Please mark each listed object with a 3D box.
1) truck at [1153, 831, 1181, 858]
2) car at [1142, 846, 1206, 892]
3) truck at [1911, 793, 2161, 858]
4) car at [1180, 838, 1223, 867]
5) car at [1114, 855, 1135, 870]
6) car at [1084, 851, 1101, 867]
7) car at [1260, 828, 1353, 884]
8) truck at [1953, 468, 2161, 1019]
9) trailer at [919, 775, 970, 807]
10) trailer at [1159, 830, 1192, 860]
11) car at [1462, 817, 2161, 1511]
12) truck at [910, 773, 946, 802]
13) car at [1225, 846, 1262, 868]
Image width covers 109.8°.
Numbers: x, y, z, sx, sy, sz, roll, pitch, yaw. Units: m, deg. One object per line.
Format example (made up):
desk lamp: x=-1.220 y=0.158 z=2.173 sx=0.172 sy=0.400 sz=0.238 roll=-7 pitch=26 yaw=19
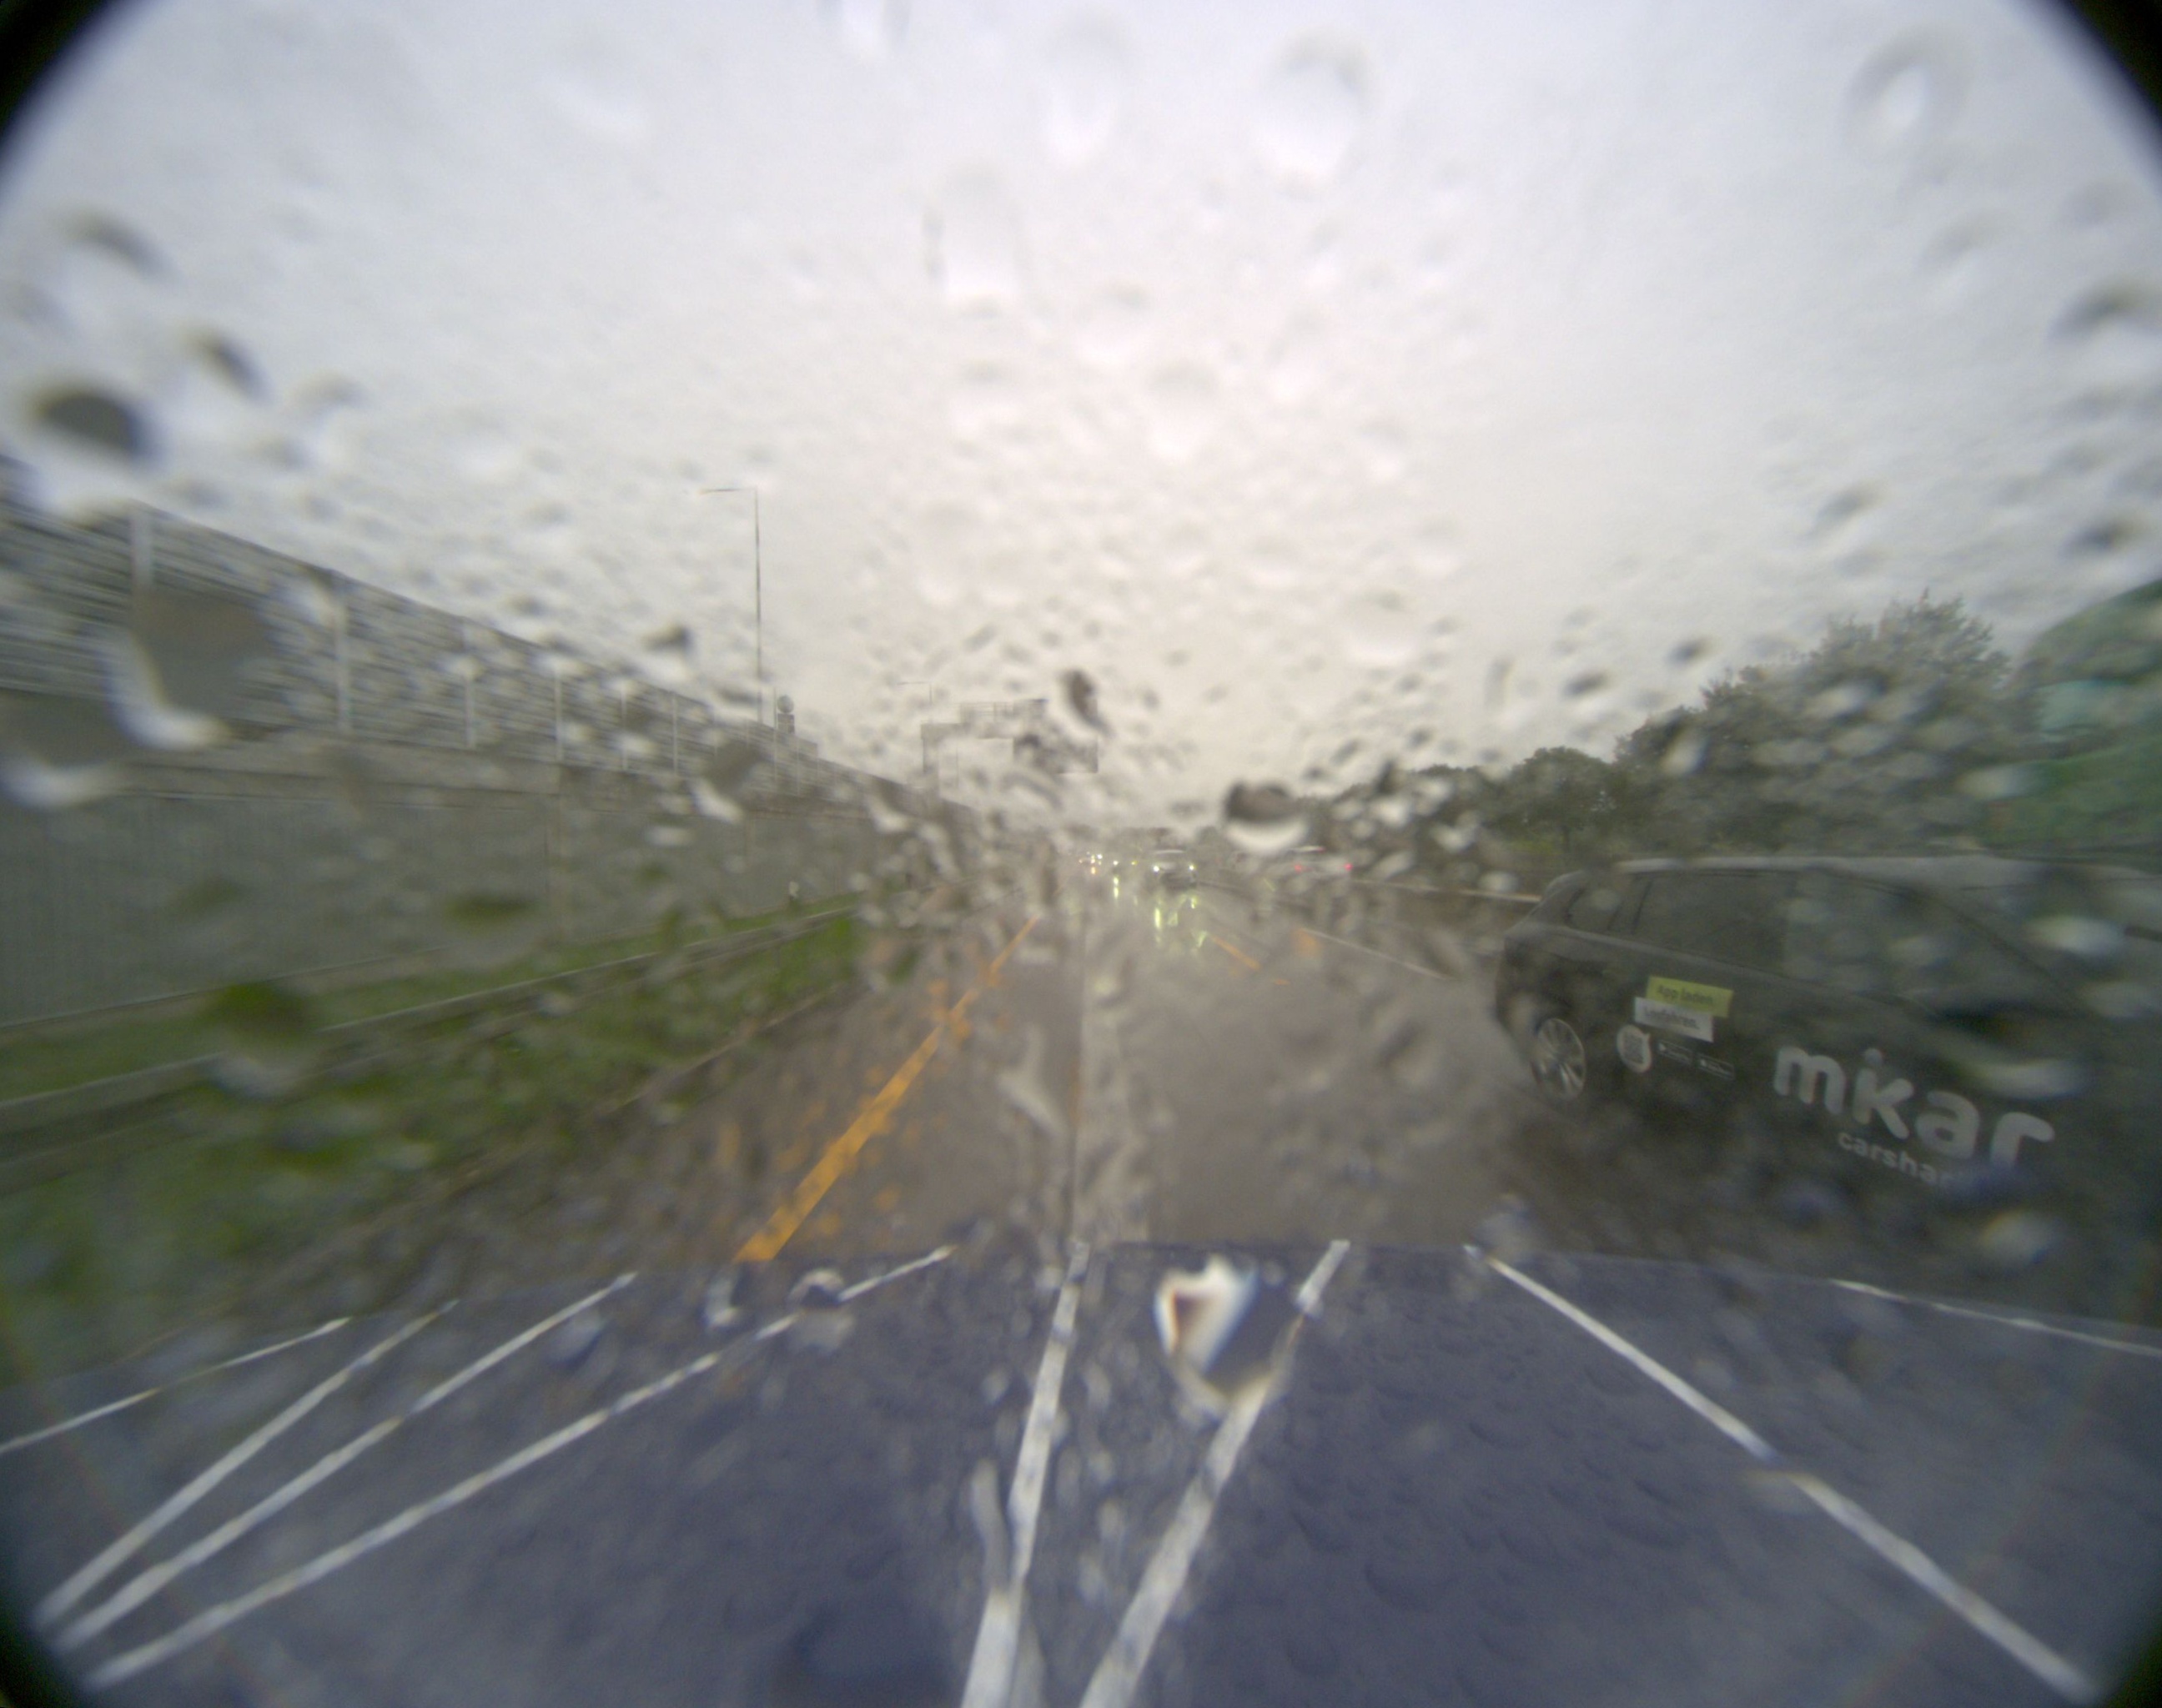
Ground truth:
truck: x=11.250 y=-1.215 z=100.272 sx=2.646 sy=3.328 sz=9.552 roll=-2 pitch=0 yaw=1
car: x=3.815 y=0.573 z=31.981 sx=1.972 sy=1.671 sz=3.997 roll=-2 pitch=2 yaw=-3
truck: x=45.162 y=-1.241 z=35.806 sx=2.521 sy=2.688 sz=8.902 roll=-2 pitch=1 yaw=2
car: x=7.367 y=-0.123 z=46.899 sx=1.903 sy=1.677 sz=4.740 roll=-1 pitch=1 yaw=0
car: x=3.441 y=0.650 z=60.545 sx=1.335 sy=1.105 sz=3.198 roll=1 pitch=0 yaw=-2
car: x=1.401 y=0.545 z=93.031 sx=1.998 sy=1.762 sz=3.999 roll=-2 pitch=2 yaw=1
car: x=7.088 y=-0.012 z=24.326 sx=1.705 sy=1.589 sz=4.319 roll=-2 pitch=2 yaw=1
truck: x=9.851 y=-0.889 z=4.305 sx=2.615 sy=4.363 sz=6.289 roll=-2 pitch=1 yaw=1
trailer: x=-12.251 y=-5.648 z=69.535 sx=1.998 sy=2.094 sz=13.764 roll=-2 pitch=2 yaw=1
trailer: x=11.144 y=-1.034 z=90.633 sx=2.668 sy=3.343 sz=9.714 roll=-2 pitch=0 yaw=1
car: x=3.389 y=0.659 z=2.535 sx=1.943 sy=1.519 sz=4.796 roll=-3 pitch=1 yaw=2
truck: x=-12.295 y=-5.350 z=61.309 sx=1.998 sy=2.002 sz=4.057 roll=-2 pitch=2 yaw=1
car: x=10.821 y=0.180 z=50.774 sx=1.573 sy=1.427 sz=3.893 roll=-1 pitch=1 yaw=0
